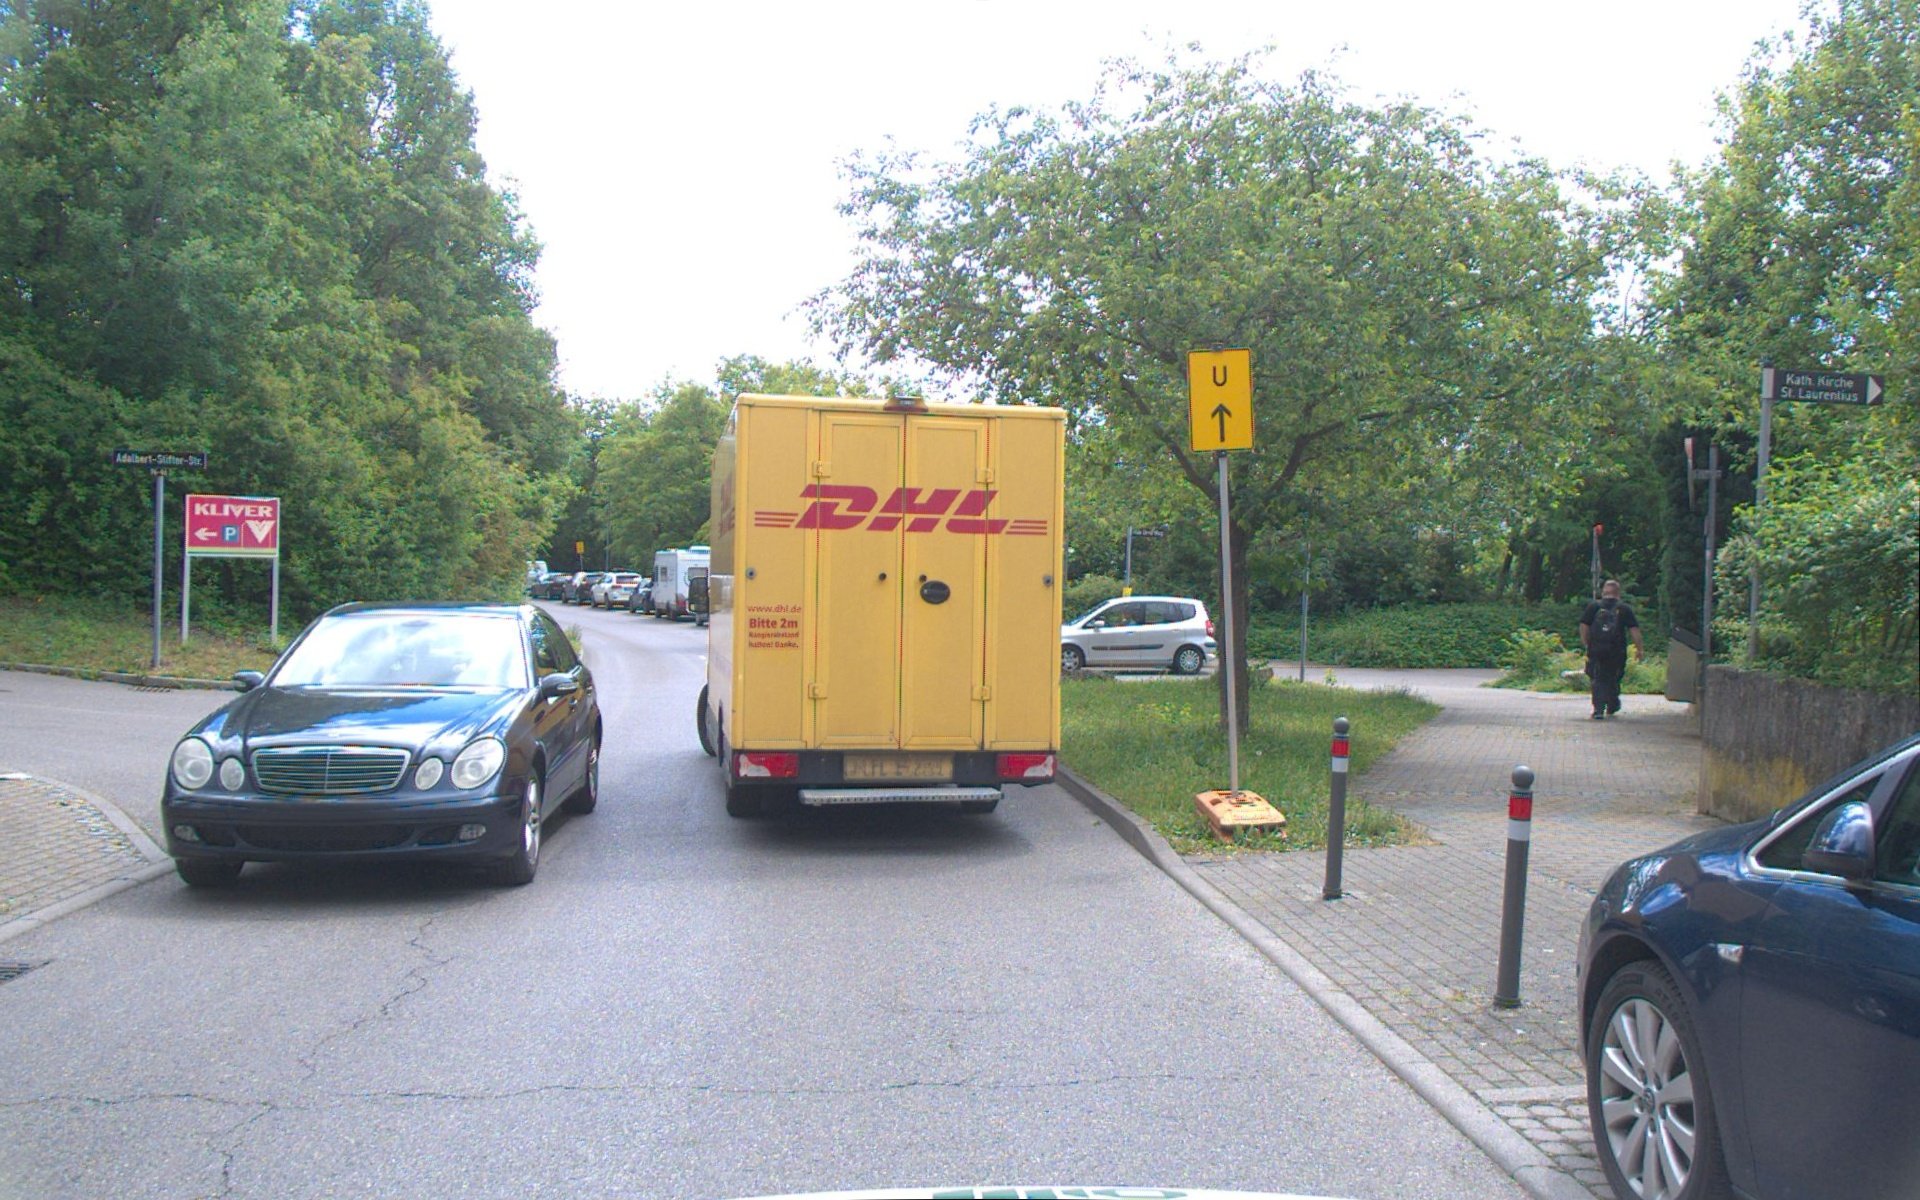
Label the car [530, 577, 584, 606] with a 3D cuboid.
[{"bbox_3d":[-22.304,-0.493,91.411,1.780,1.489,3.957,0,2,-32],"label":"car"}]

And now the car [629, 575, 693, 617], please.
[{"bbox_3d":[-13.375,-0.217,73.909,1.691,1.618,3.968,-8,4,-25],"label":"car"}]

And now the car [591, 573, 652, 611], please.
[{"bbox_3d":[-16.437,-0.413,80.213,1.848,1.718,4.543,1,1,-25],"label":"car"}]

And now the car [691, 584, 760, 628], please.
[{"bbox_3d":[-8.691,0.231,61.095,1.704,1.545,3.865,-1,0,-21],"label":"car"}]

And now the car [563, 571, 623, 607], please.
[{"bbox_3d":[-18.991,-0.606,85.529,1.971,1.654,4.240,-3,4,-28],"label":"car"}]

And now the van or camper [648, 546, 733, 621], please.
[{"bbox_3d":[-11.183,-0.696,68.230,2.299,2.919,6.113,1,1,-21],"label":"van or camper"}]

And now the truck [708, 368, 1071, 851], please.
[{"bbox_3d":[-0.892,0.050,13.206,2.184,2.858,6.558,0,0,-9],"label":"truck"}]

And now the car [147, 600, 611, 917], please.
[{"bbox_3d":[-3.161,0.738,9.912,1.718,1.444,4.361,0,0,-7],"label":"car"}]

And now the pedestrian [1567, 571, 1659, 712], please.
[{"bbox_3d":[8.364,0.527,21.212,0.816,1.767,0.784,1,-1,-7],"label":"pedestrian"}]

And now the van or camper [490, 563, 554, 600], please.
[{"bbox_3d":[-25.596,-1.096,96.562,1.977,1.953,5.201,-2,3,-35],"label":"van or camper"}]

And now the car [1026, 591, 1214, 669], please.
[{"bbox_3d":[3.182,0.589,33.375,3.567,1.481,1.846,1,-1,-3],"label":"car"}]

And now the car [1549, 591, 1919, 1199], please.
[{"bbox_3d":[2.551,0.713,2.608,1.657,1.445,3.998,0,0,-3],"label":"car"}]
